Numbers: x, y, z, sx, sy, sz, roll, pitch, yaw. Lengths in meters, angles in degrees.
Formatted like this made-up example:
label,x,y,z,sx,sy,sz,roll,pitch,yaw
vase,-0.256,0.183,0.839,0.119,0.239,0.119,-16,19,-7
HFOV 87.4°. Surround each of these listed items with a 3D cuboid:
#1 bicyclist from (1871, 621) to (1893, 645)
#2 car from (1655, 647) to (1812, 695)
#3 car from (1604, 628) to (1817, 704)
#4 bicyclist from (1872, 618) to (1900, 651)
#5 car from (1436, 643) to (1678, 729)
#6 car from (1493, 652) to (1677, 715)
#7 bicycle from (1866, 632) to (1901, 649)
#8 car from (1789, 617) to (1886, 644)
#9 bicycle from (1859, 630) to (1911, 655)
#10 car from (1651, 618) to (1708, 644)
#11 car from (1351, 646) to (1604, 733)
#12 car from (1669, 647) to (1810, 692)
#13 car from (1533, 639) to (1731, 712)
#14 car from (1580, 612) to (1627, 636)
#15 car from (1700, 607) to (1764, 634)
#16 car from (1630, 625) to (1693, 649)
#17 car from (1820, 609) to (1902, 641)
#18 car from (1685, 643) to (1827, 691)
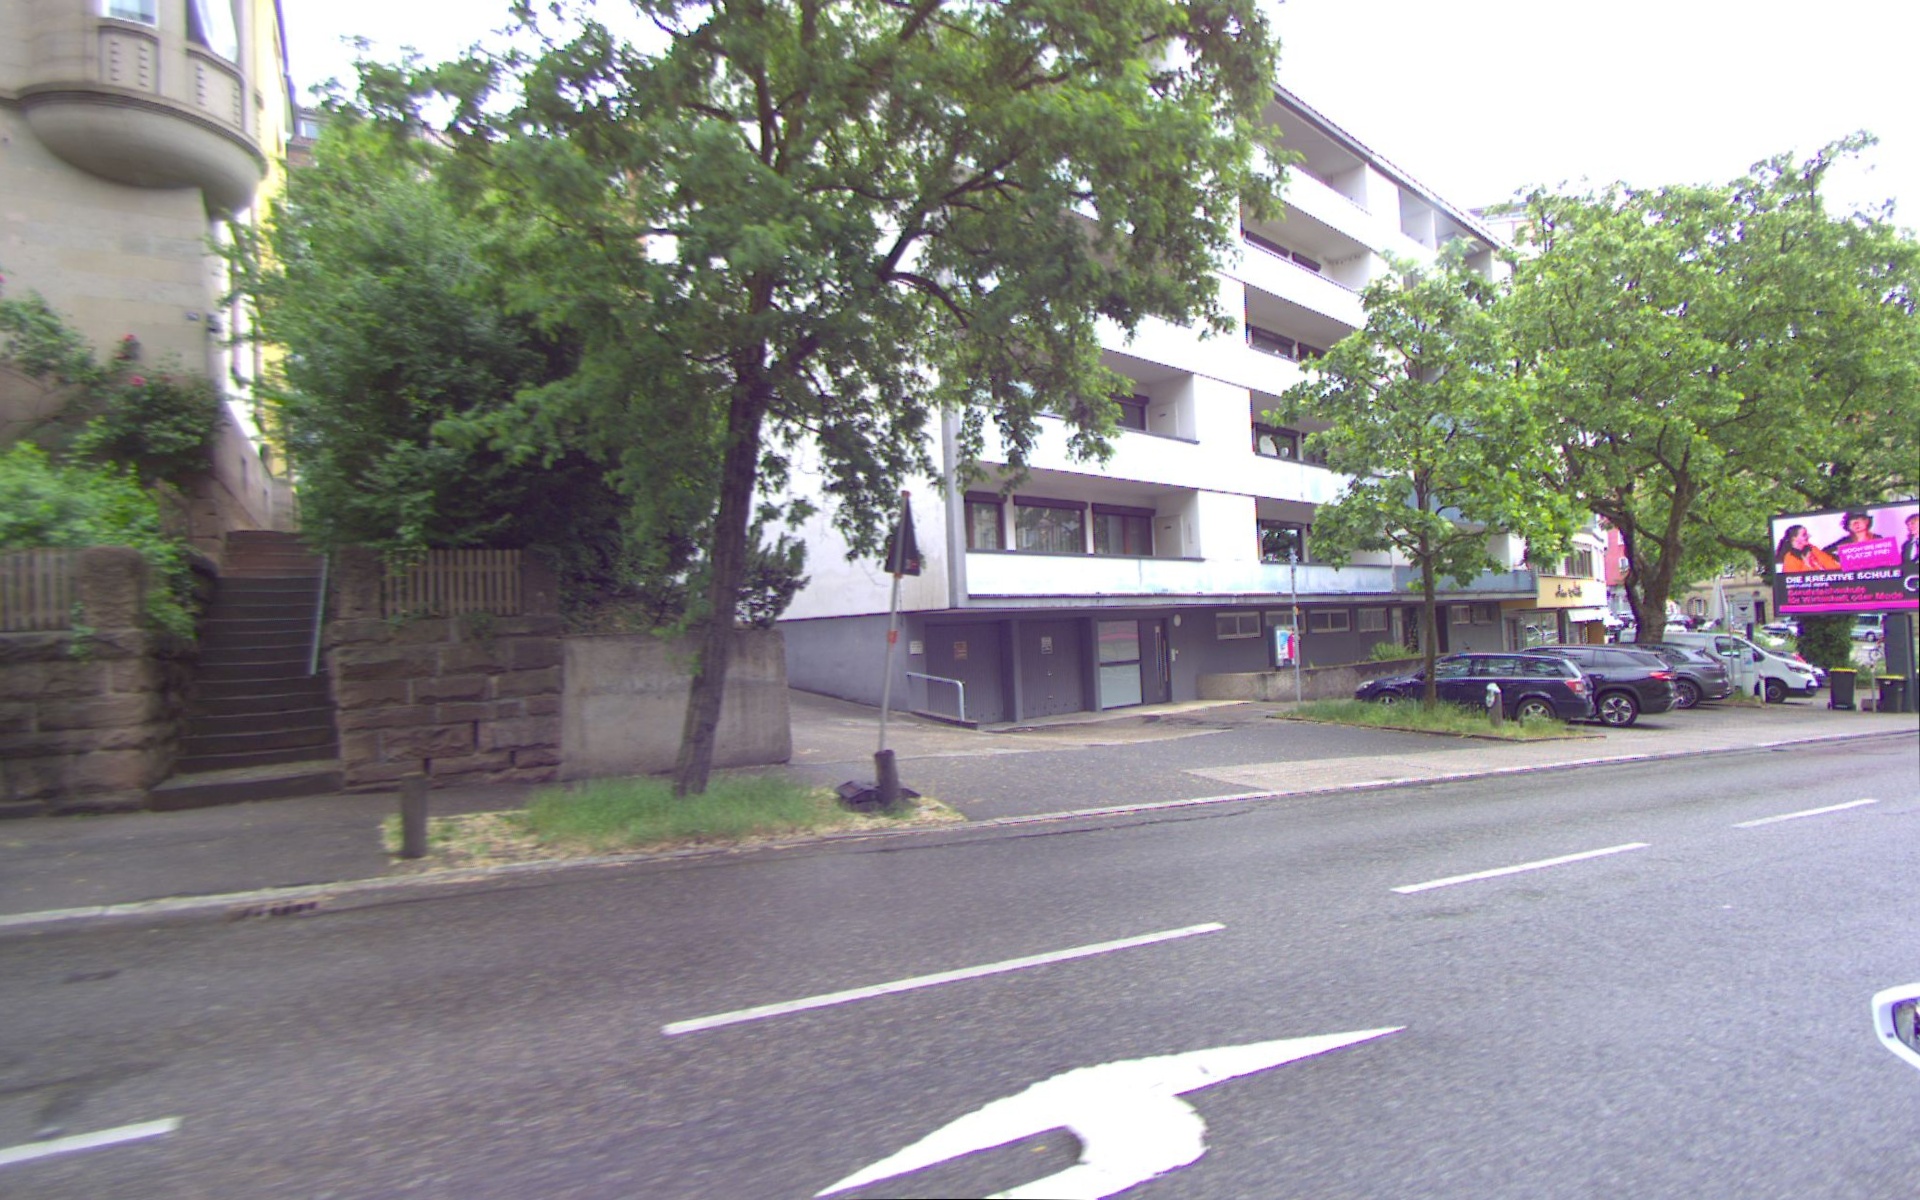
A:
label,x,y,z,sx,sy,sz,roll,pitch,yaw
bicyclist,51.235,1.856,55.836,0.676,1.289,0.570,2,0,-5
car,26.181,2.372,34.109,4.122,1.475,1.786,-2,-3,40
car,22.527,1.924,30.306,5.000,2.132,1.983,-1,-3,40
bicyclist,51.508,1.928,55.895,0.756,1.844,0.785,0,-3,-4
car,12.943,1.828,21.904,4.312,1.694,1.848,-3,-4,38
car,15.885,2.069,25.613,3.870,1.449,1.742,-1,-3,36
bicycle,51.325,2.245,55.849,1.493,0.870,0.575,2,0,-6
car,60.764,2.093,69.654,1.971,1.599,4.629,2,0,-22
bicycle,51.451,2.360,55.884,2.231,1.337,0.673,-1,-3,-2
car,63.667,2.758,88.966,1.961,2.130,4.291,0,0,-1
car,10.557,1.781,20.637,4.303,1.594,1.936,-3,-4,38
car,27.930,2.463,36.078,3.925,1.469,1.761,-2,-3,40
car,18.248,1.987,27.365,4.305,1.807,1.931,-1,-3,40
car,55.522,2.058,86.760,1.545,2.040,4.001,0,-1,2
car,64.078,1.689,83.434,1.961,2.130,4.291,0,0,-1
car,55.304,2.914,79.265,1.961,1.749,4.250,-2,-1,0
car,64.200,1.752,71.631,1.961,2.130,4.291,0,0,-1
car,29.795,2.469,37.728,4.071,1.675,1.762,-1,-3,38
